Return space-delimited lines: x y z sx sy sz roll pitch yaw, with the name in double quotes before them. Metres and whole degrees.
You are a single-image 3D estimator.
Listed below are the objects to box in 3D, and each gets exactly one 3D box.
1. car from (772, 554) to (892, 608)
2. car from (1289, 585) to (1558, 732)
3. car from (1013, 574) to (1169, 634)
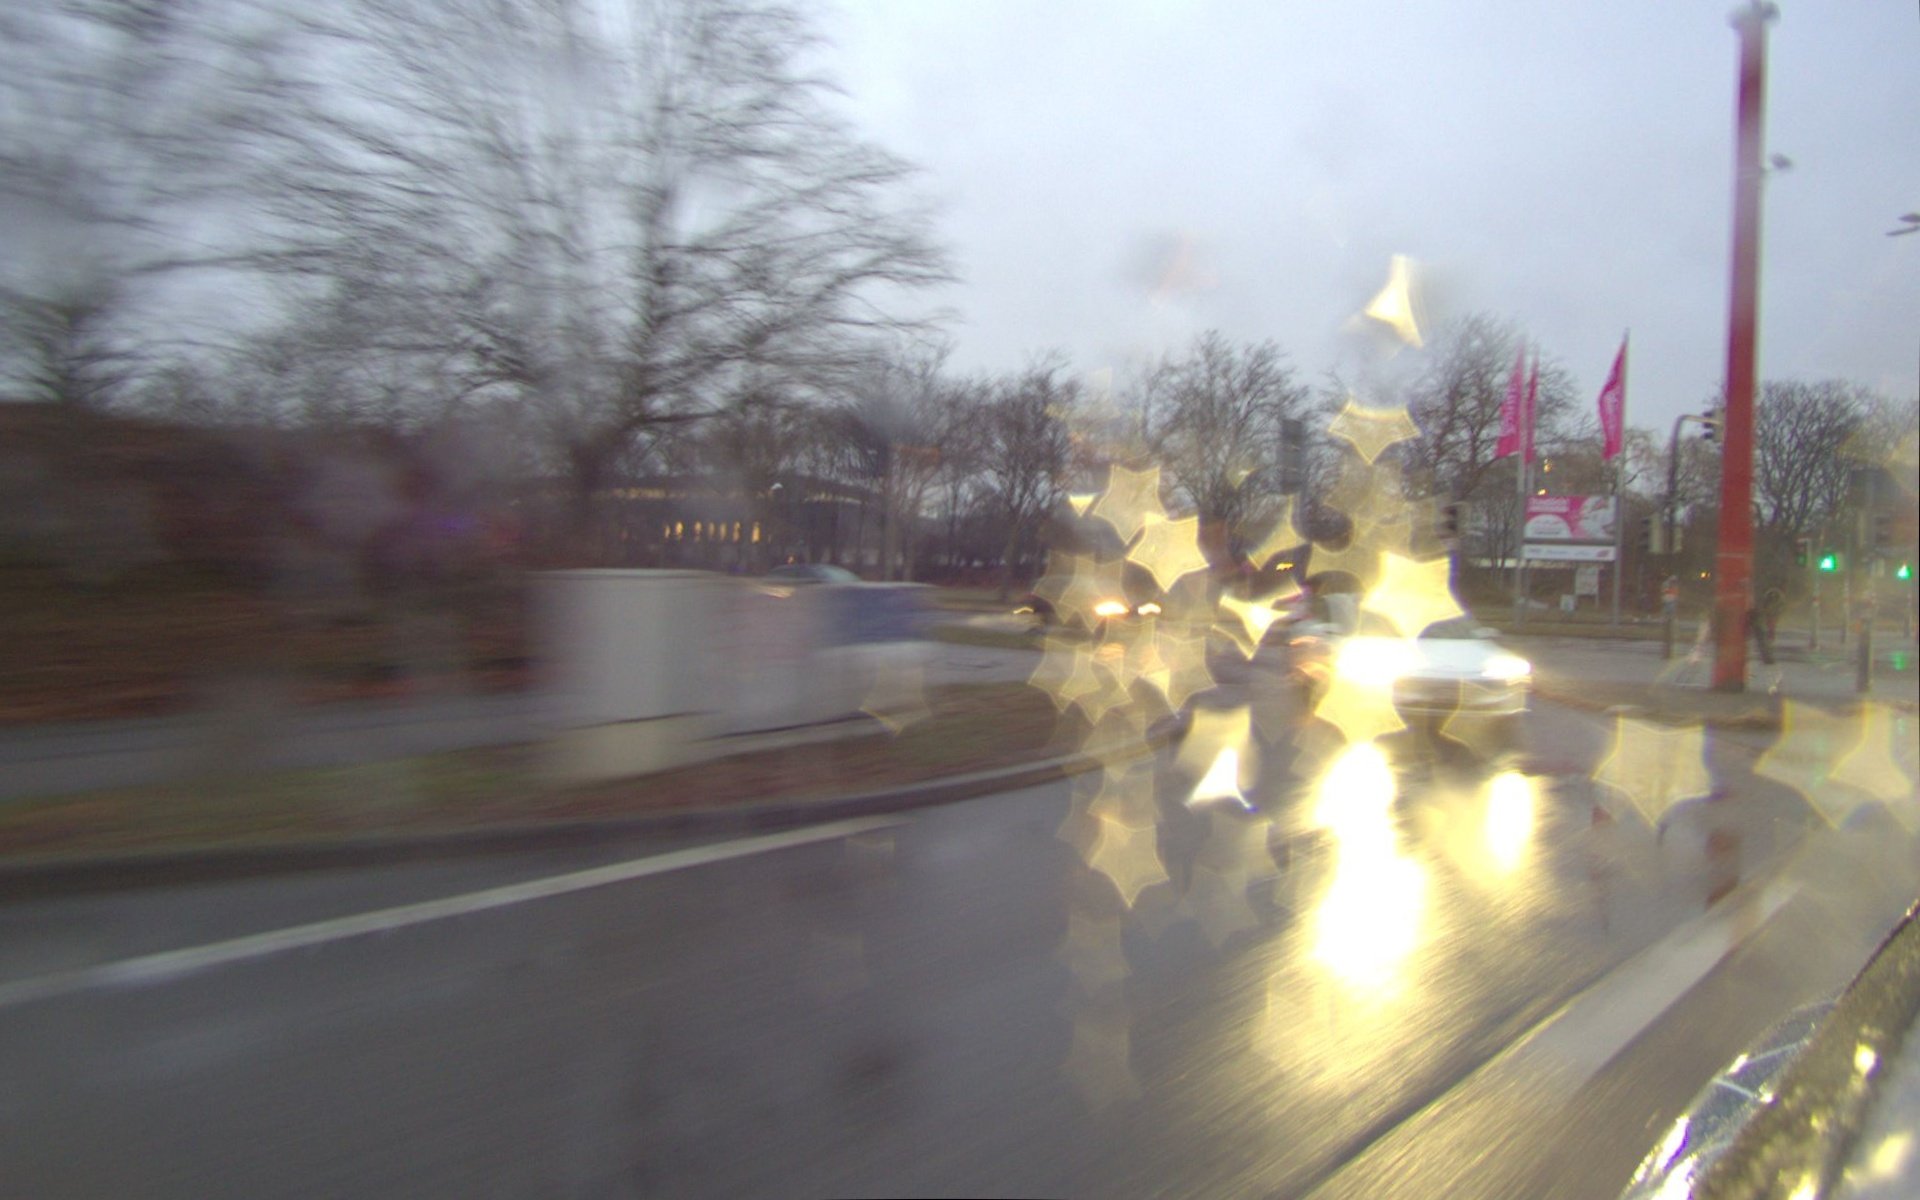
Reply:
"car" -4.221 -0.668 33.173 3.867 1.655 1.636 2 2 37
"car" 5.431 0.544 12.599 1.852 1.393 4.742 1 2 10
"car" 3.170 0.056 25.282 1.606 1.326 4.001 0 2 -34
